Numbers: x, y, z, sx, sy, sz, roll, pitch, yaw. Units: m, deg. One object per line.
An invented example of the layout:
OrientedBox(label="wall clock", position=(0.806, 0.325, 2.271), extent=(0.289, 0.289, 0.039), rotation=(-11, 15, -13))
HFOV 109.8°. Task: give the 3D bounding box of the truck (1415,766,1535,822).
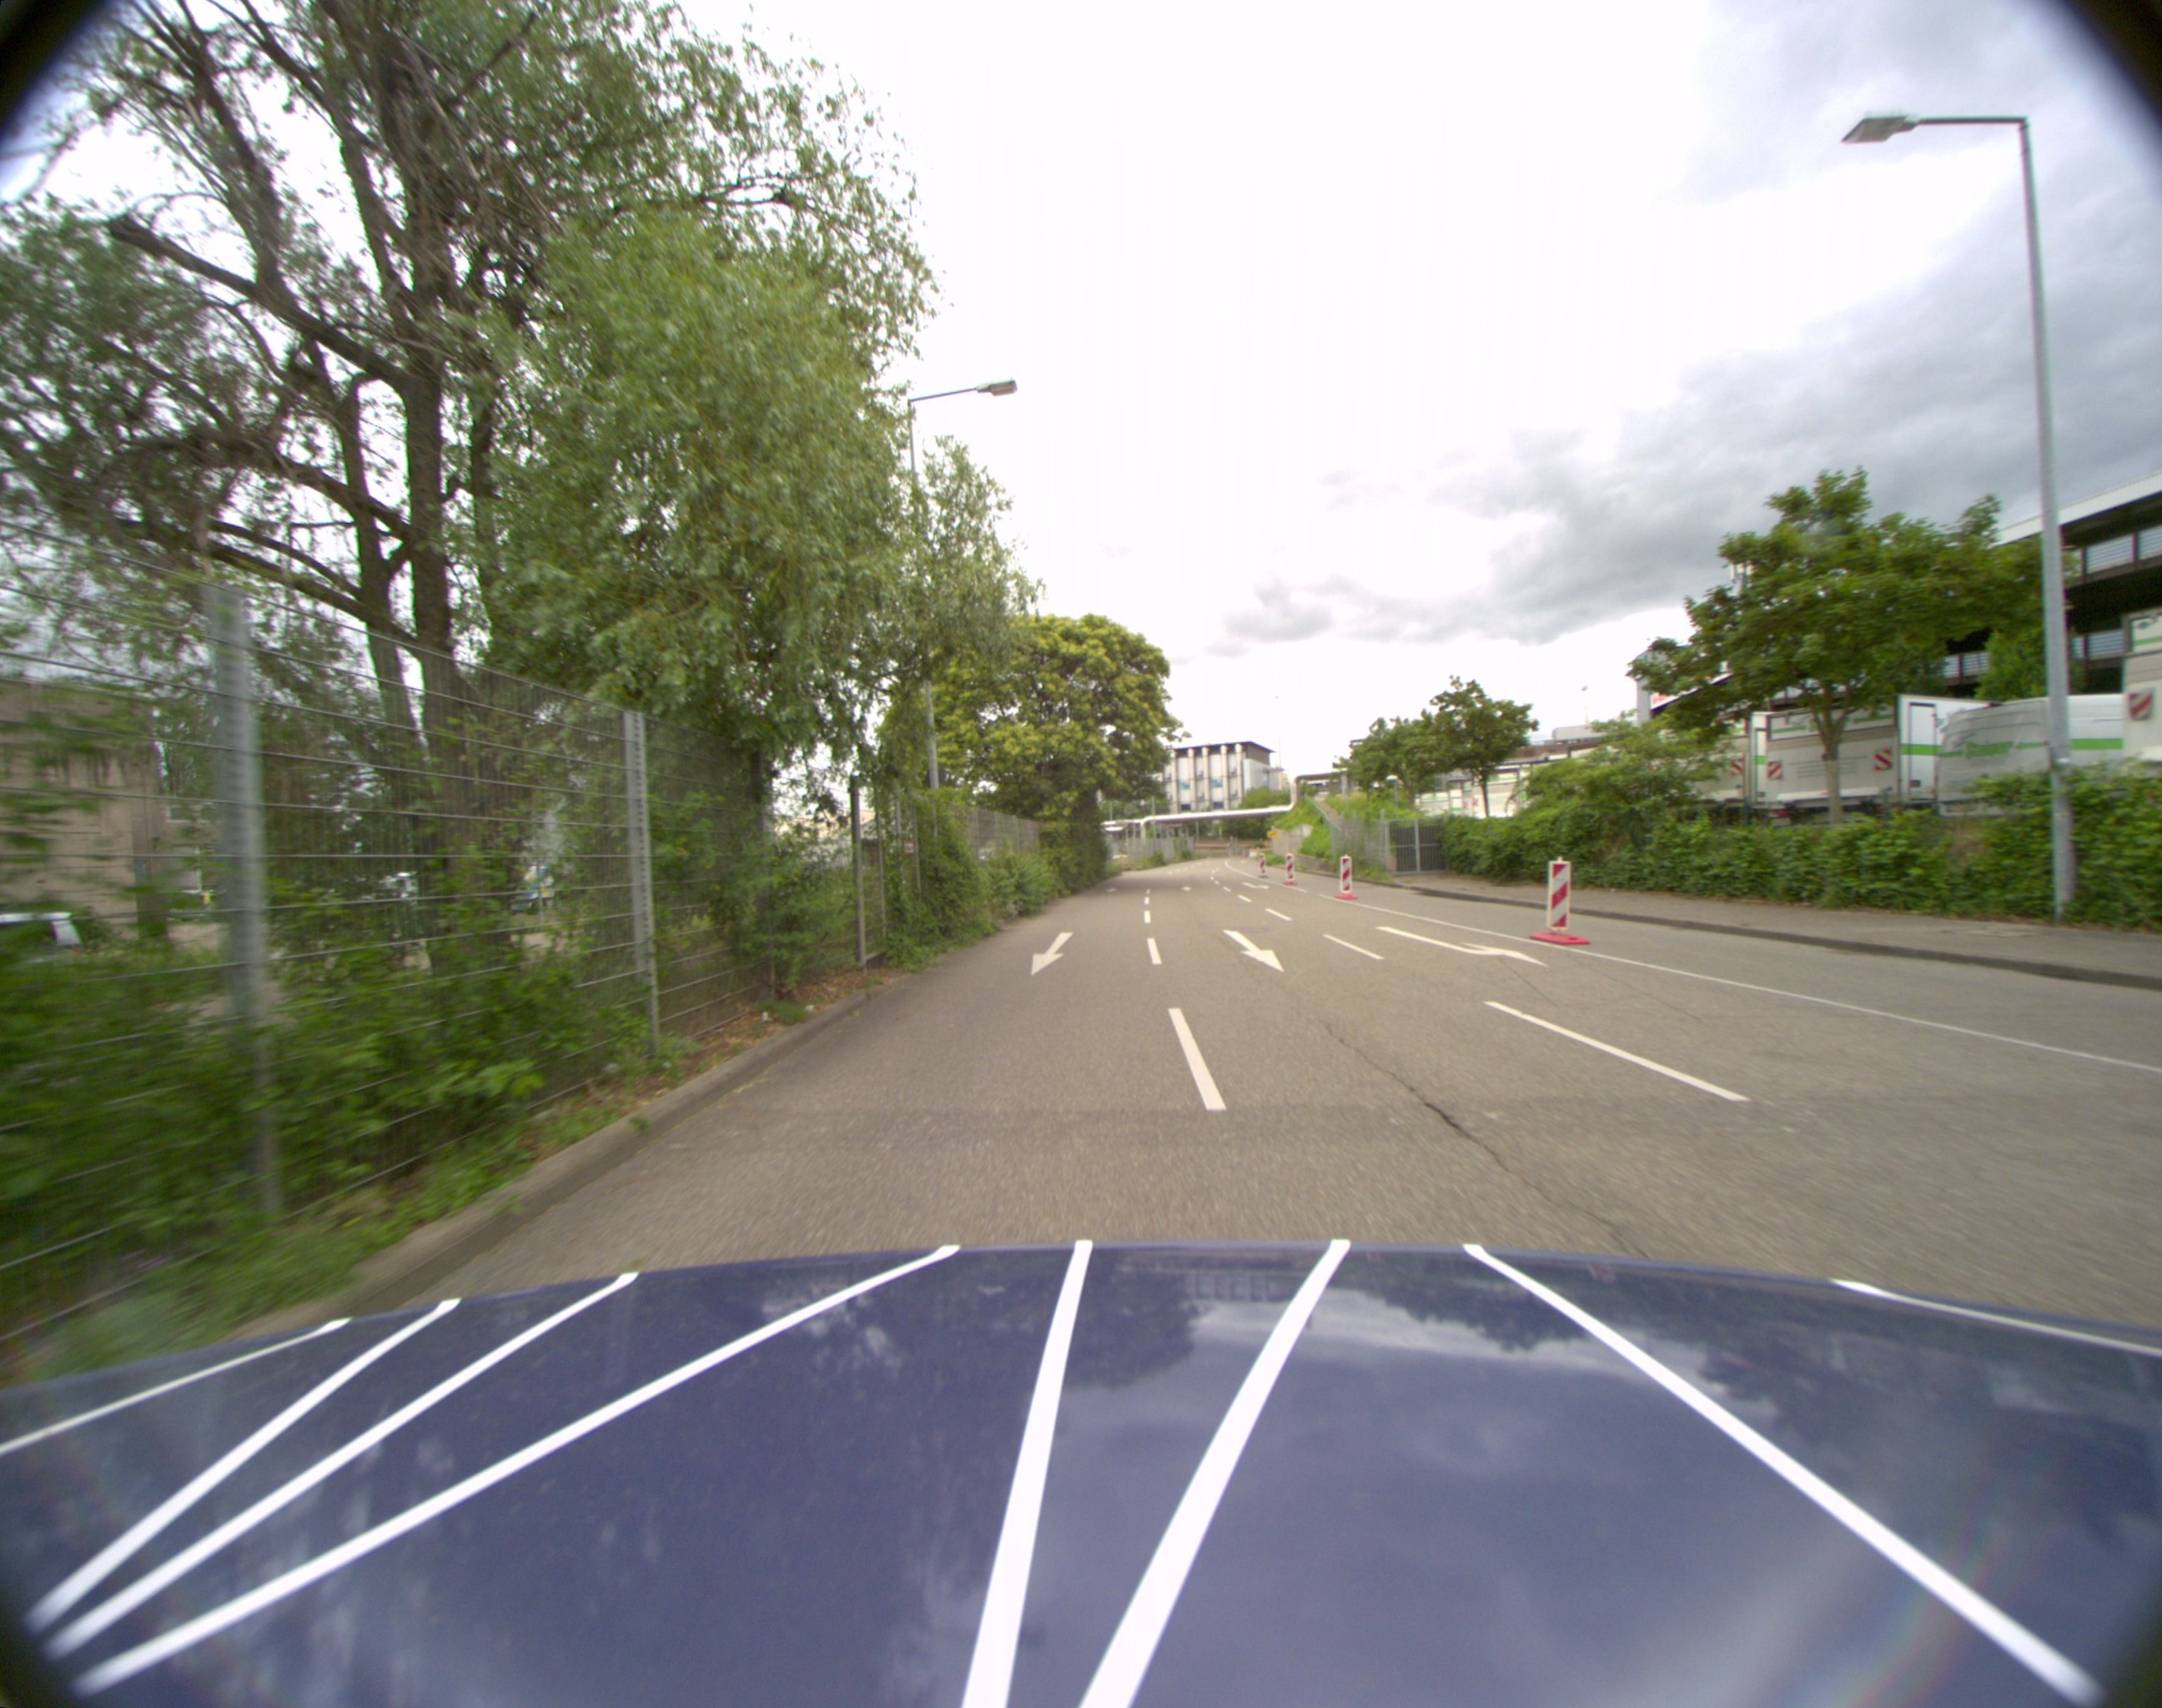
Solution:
OrientedBox(label="truck", position=(27.845, -4.248, 53.635), extent=(7.873, 3.519, 3.046), rotation=(-4, 3, -22))

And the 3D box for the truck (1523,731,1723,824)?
OrientedBox(label="truck", position=(22.834, -3.208, 31.984), extent=(7.873, 3.519, 3.046), rotation=(-4, 3, -22))

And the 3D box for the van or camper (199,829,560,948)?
OrientedBox(label="van or camper", position=(-31.870, 1.434, 35.078), extent=(11.831, 4.506, 5.486), rotation=(-3, 2, 6))

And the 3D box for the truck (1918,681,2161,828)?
OrientedBox(label="truck", position=(18.888, -1.790, 13.894), extent=(4.700, 2.392, 2.195), rotation=(-3, 2, 1))

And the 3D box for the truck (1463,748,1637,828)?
OrientedBox(label="truck", position=(23.261, -3.285, 37.658), extent=(8.162, 3.519, 3.046), rotation=(-4, 3, -22))

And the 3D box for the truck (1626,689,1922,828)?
OrientedBox(label="truck", position=(20.226, -2.723, 22.206), extent=(7.872, 3.519, 3.046), rotation=(-4, 3, -20))

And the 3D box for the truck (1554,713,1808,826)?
OrientedBox(label="truck", position=(21.049, -2.937, 26.724), extent=(7.871, 3.519, 3.047), rotation=(-4, 3, -17))

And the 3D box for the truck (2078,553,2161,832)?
OrientedBox(label="truck", position=(19.402, -2.486, 10.549), extent=(7.864, 3.969, 3.050), rotation=(-3, 2, -6))

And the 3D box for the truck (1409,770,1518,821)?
OrientedBox(label="truck", position=(29.796, -4.547, 59.136), extent=(7.873, 3.519, 3.046), rotation=(-4, 3, -22))

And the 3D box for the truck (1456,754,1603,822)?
OrientedBox(label="truck", position=(25.623, -3.765, 43.400), extent=(7.873, 3.519, 3.046), rotation=(-4, 3, -22))

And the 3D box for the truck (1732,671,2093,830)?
OrientedBox(label="truck", position=(20.000, -2.386, 18.311), extent=(7.872, 3.232, 3.046), rotation=(-4, 3, -20))
